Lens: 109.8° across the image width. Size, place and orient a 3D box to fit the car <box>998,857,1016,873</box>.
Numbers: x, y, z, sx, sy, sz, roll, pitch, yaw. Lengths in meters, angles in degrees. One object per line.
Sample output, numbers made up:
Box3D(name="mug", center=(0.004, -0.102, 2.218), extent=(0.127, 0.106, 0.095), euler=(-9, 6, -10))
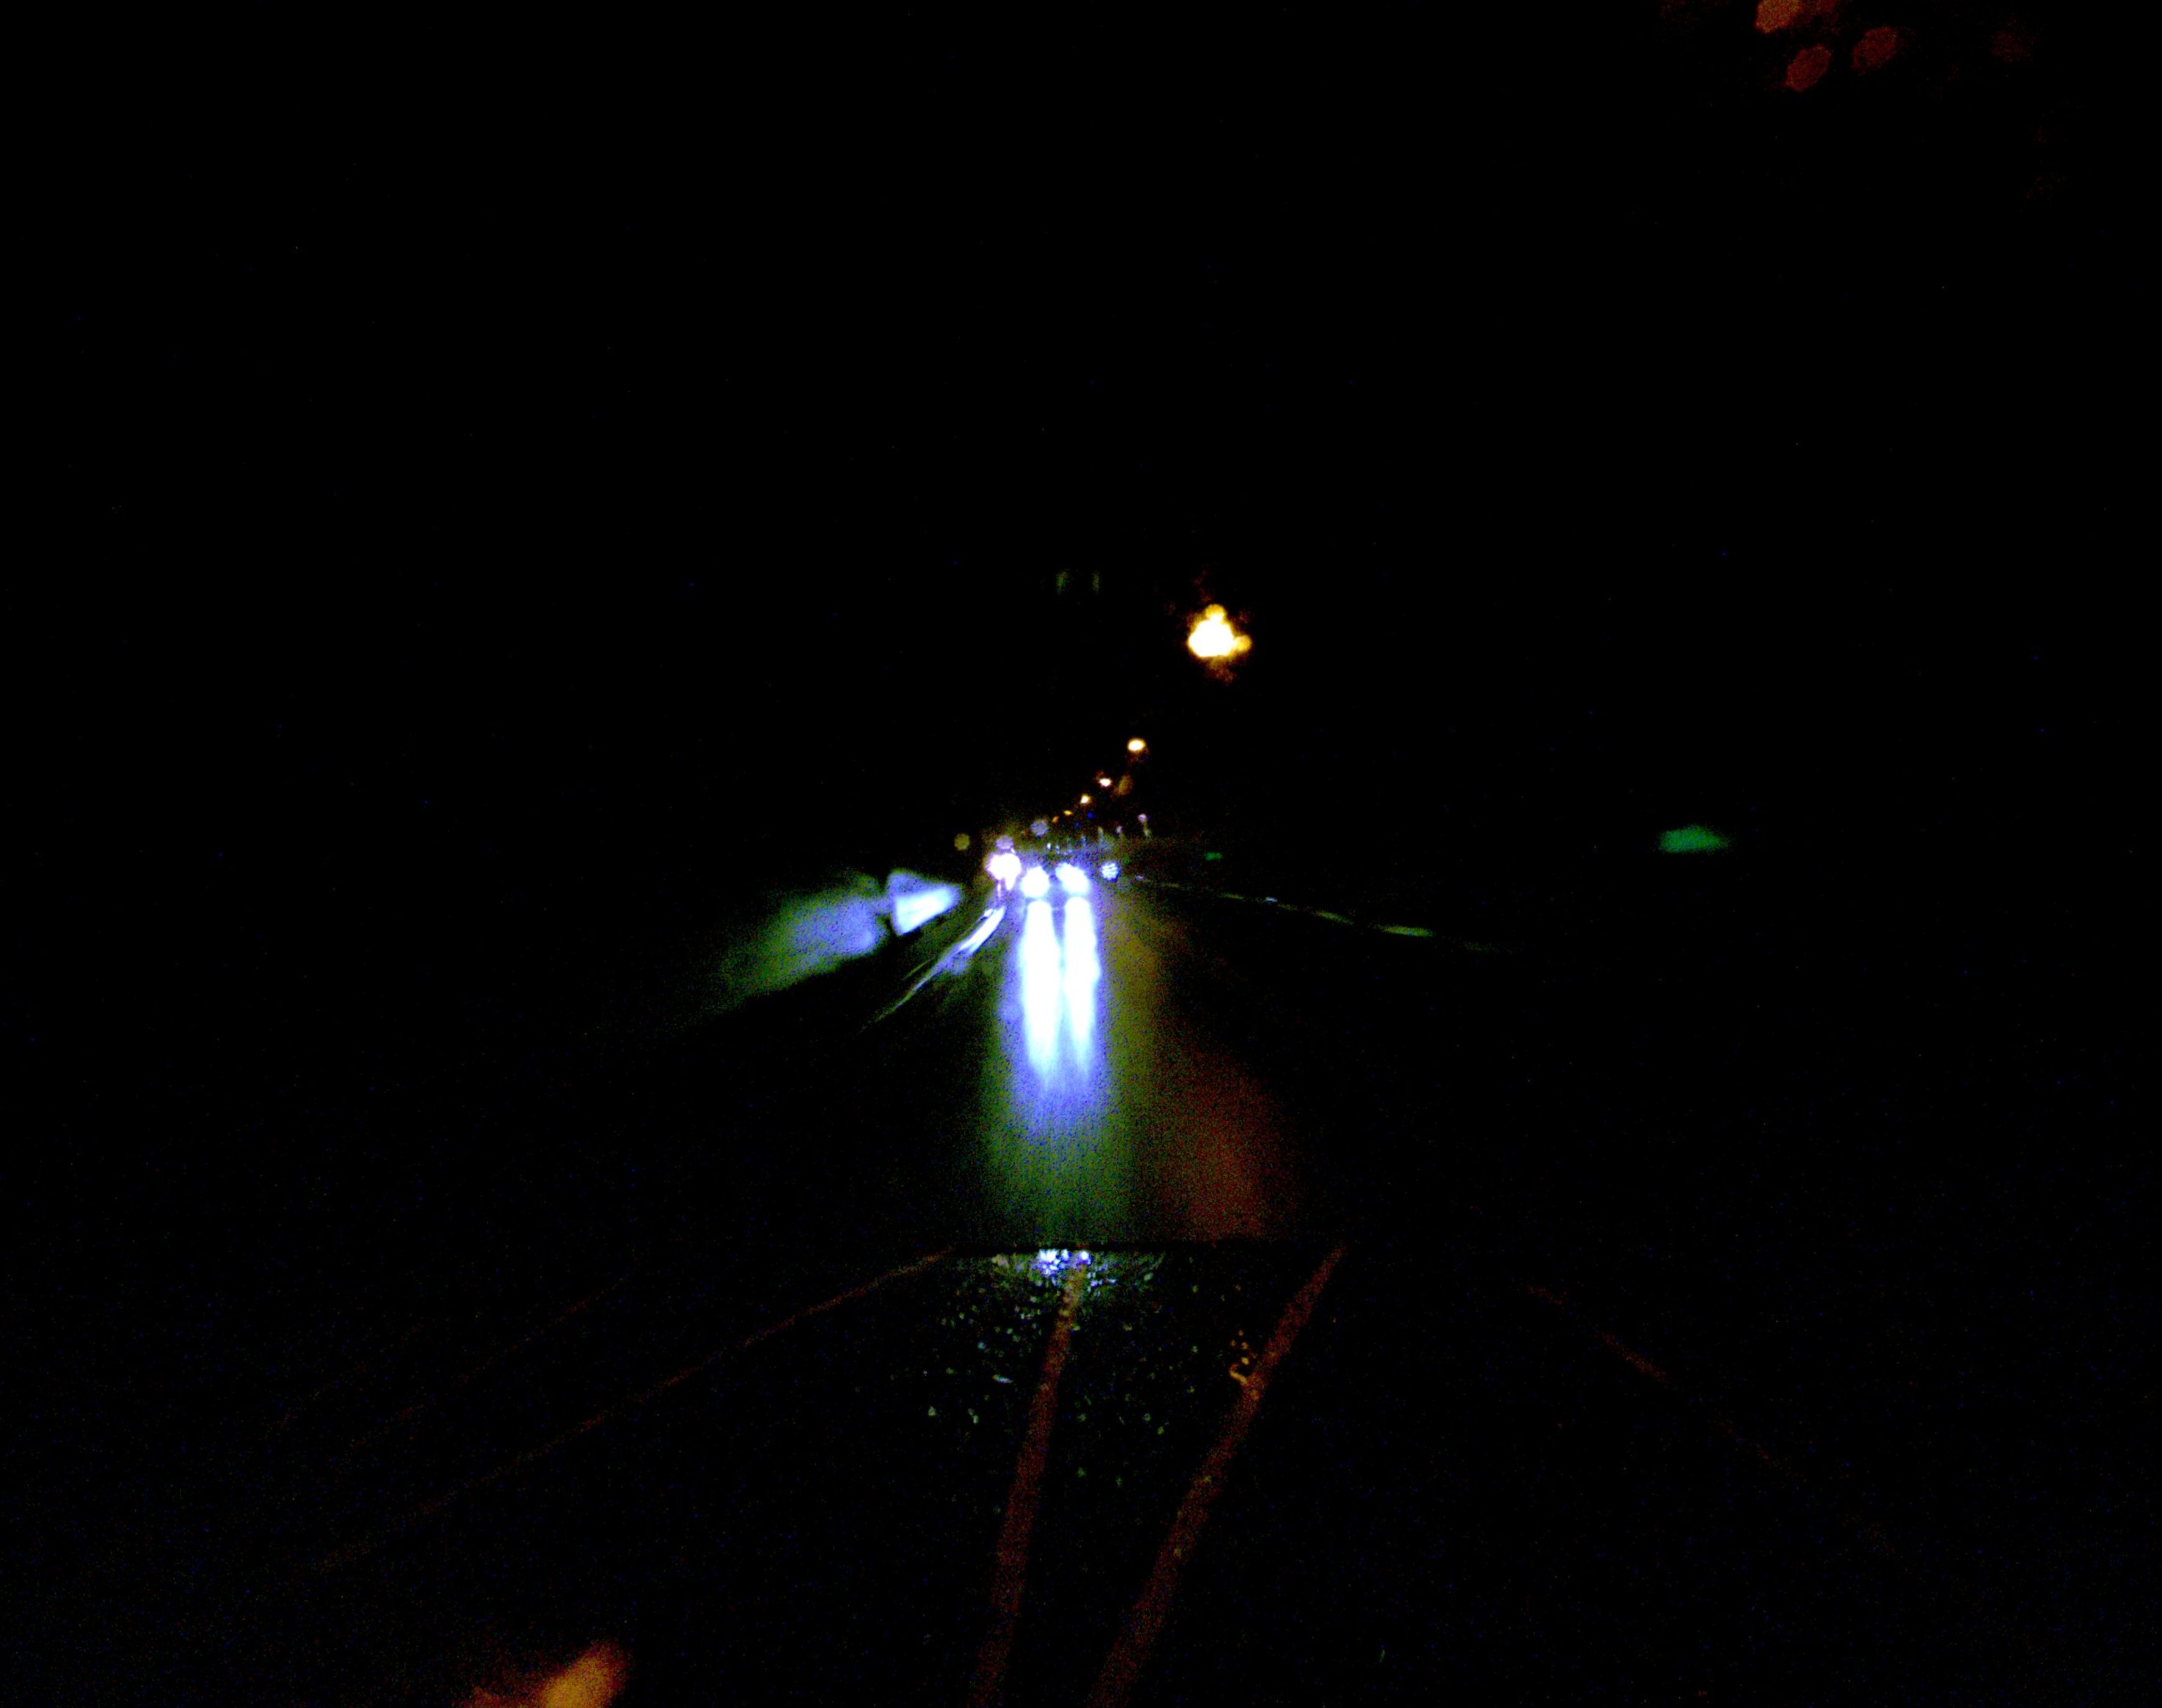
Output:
Box3D(name="car", center=(-9.857, 1.432, 100.793), extent=(1.900, 2.002, 3.996), euler=(-2, 0, -11))

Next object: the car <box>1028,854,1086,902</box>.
Box3D(name="car", center=(-1.031, 0.879, 30.274), extent=(1.999, 1.585, 4.606), euler=(-3, 1, -5))
